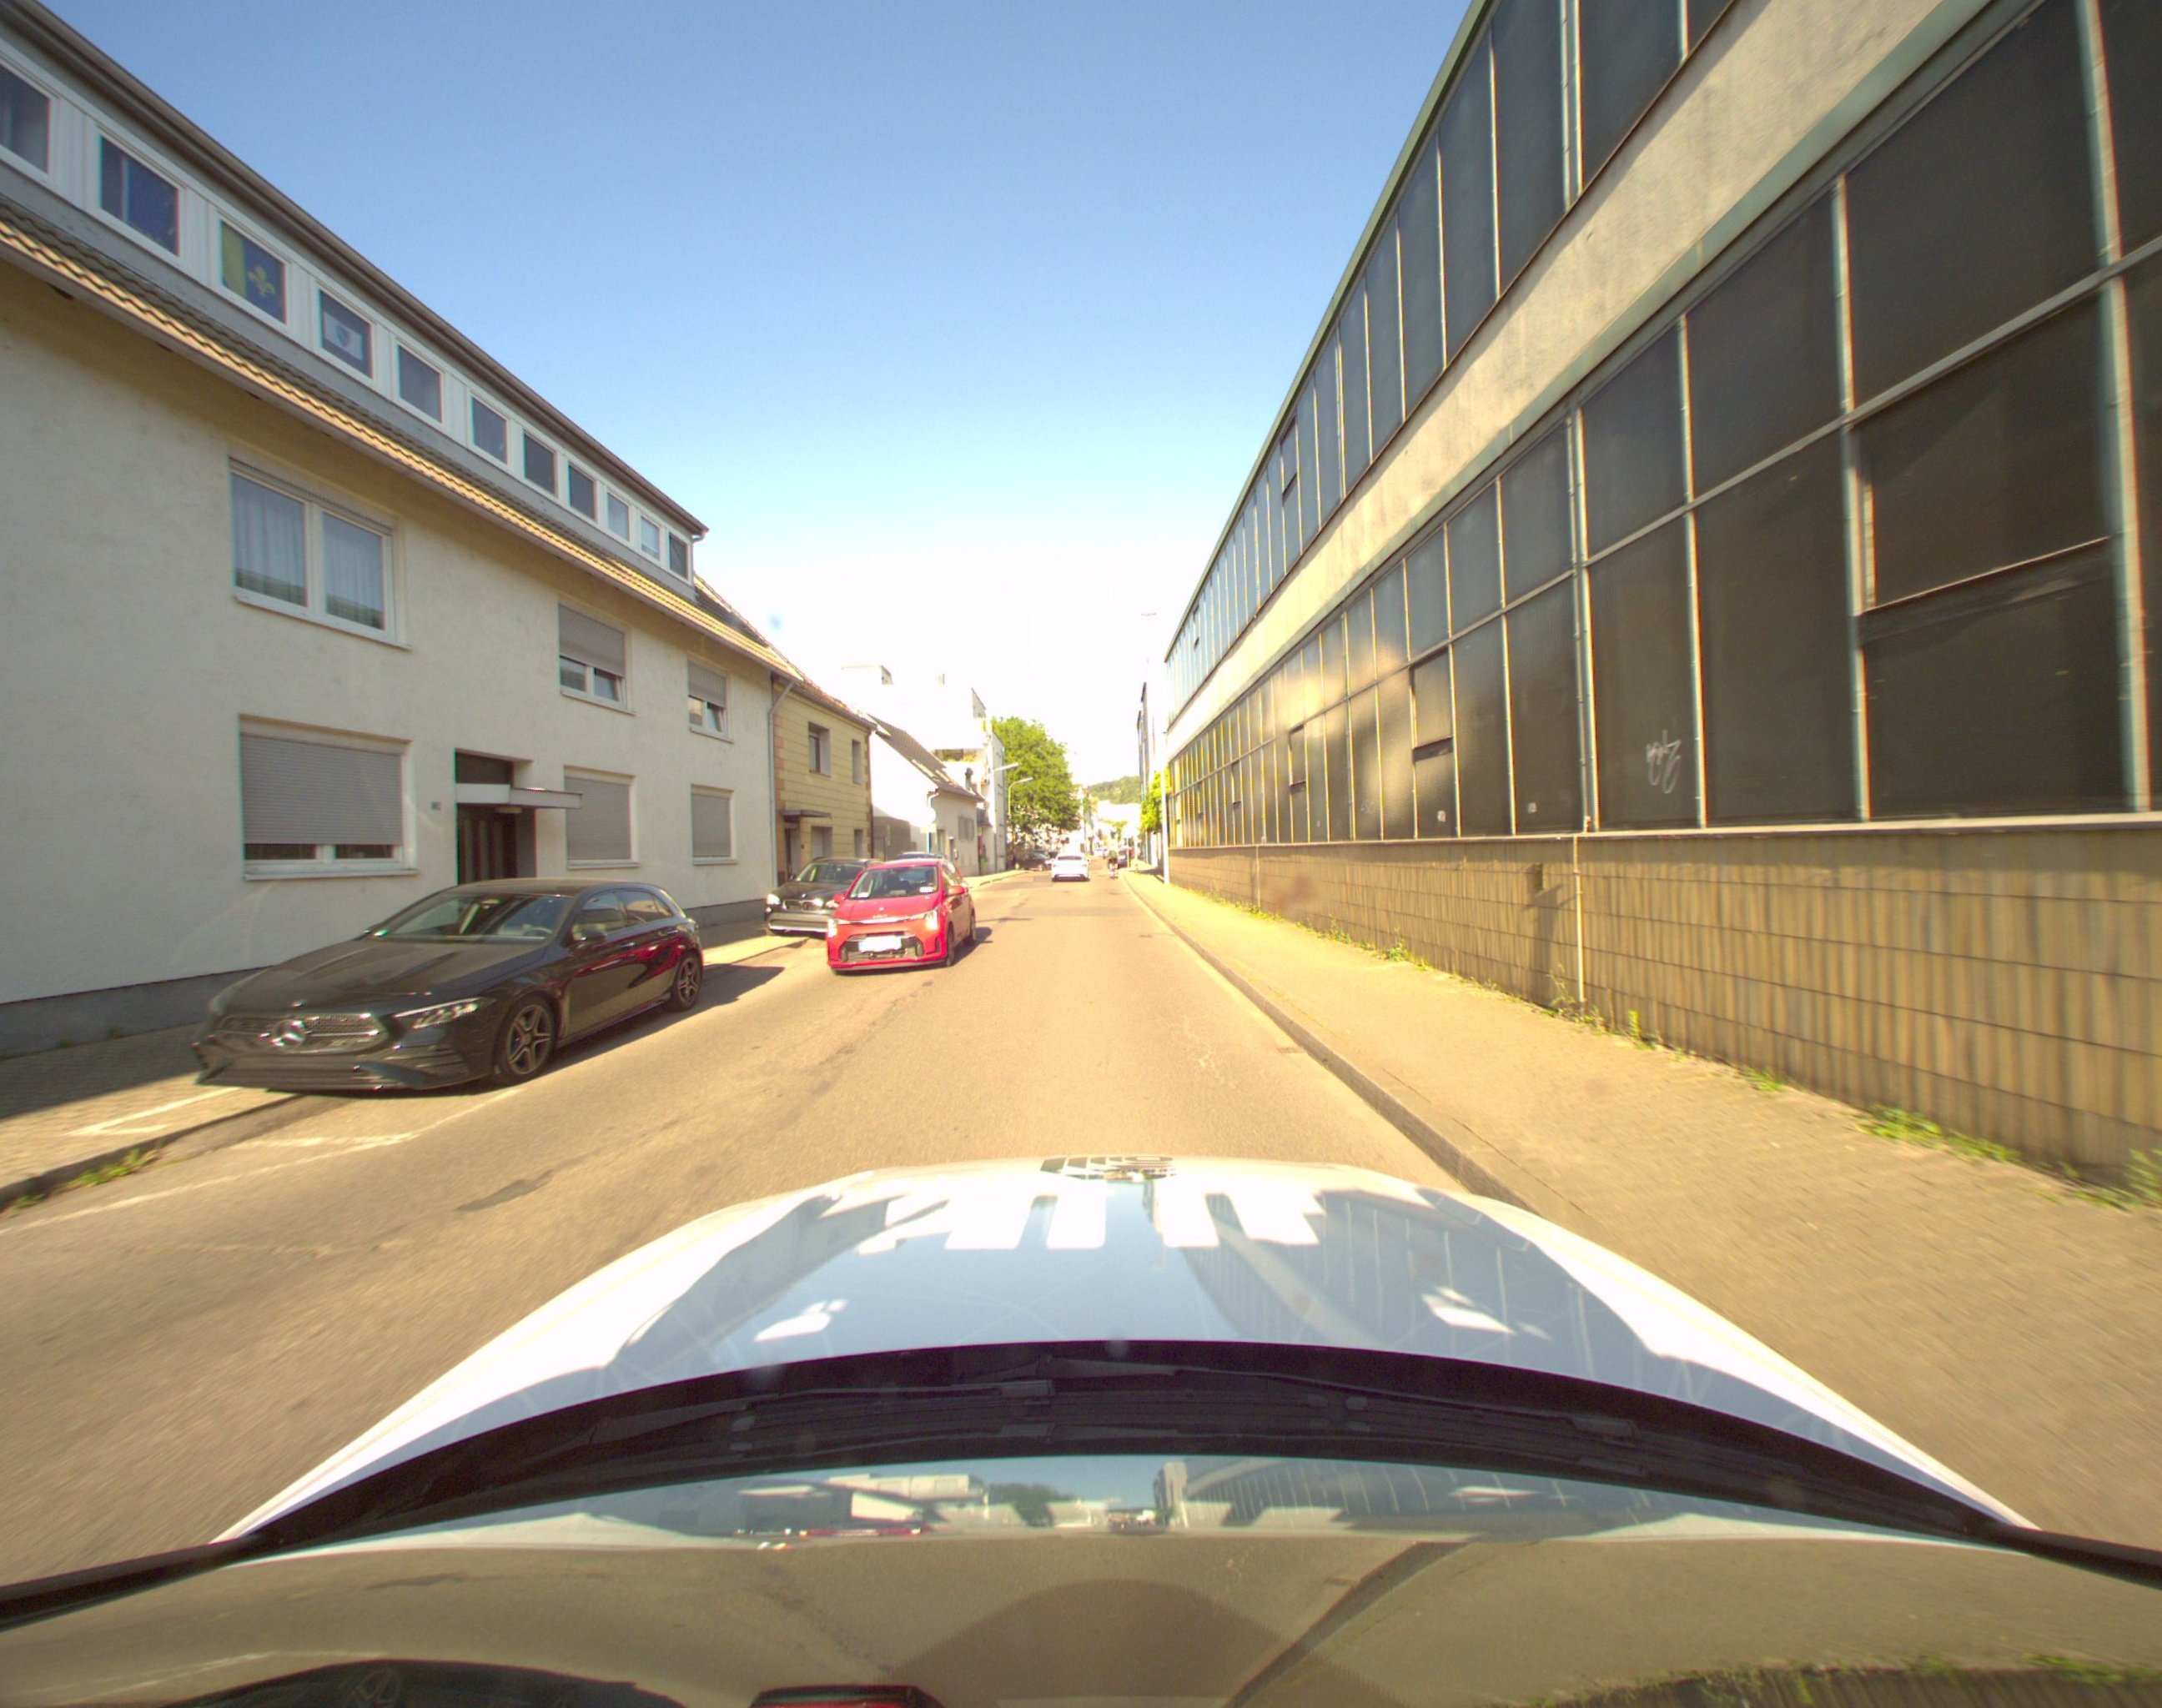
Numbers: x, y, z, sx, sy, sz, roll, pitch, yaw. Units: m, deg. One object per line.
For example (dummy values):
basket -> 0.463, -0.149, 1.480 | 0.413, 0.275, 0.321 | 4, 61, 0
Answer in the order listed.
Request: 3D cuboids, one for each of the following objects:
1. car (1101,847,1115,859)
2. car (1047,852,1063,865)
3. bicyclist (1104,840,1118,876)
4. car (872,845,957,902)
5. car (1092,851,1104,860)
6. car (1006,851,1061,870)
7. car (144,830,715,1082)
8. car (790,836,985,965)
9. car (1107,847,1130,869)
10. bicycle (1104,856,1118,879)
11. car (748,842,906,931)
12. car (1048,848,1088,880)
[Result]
car -> 4.039, -0.118, 121.267 | 1.848, 1.791, 4.605 | 0, 0, -1
car -> -3.177, 0.554, 99.671 | 1.698, 1.575, 3.914 | 0, 0, 0
bicyclist -> 1.532, 0.202, 41.746 | 0.695, 1.790, 1.041 | 0, -1, 2
car -> -5.275, 0.563, 26.330 | 1.803, 1.587, 4.193 | 2, 1, 0
car -> 3.292, 0.346, 155.341 | 1.936, 1.587, 4.626 | -3, -1, 4
car -> -3.859, 0.514, 66.702 | 4.093, 1.491, 1.859 | 0, -1, 25
car -> -5.004, 0.661, 7.230 | 1.681, 1.535, 4.329 | 2, -1, -3
car -> -2.659, 0.572, 12.224 | 1.836, 1.491, 4.143 | -4, 0, 0
car -> 2.900, 0.313, 63.721 | 1.624, 1.587, 4.069 | -3, -1, 0
bicycle -> 1.538, 0.669, 41.732 | 0.695, 1.130, 2.403 | 0, -1, 2
car -> -5.158, 0.583, 17.229 | 1.851, 1.587, 4.337 | 2, 1, 1
car -> -0.608, 0.494, 40.053 | 1.836, 1.491, 4.143 | 0, -1, 0
